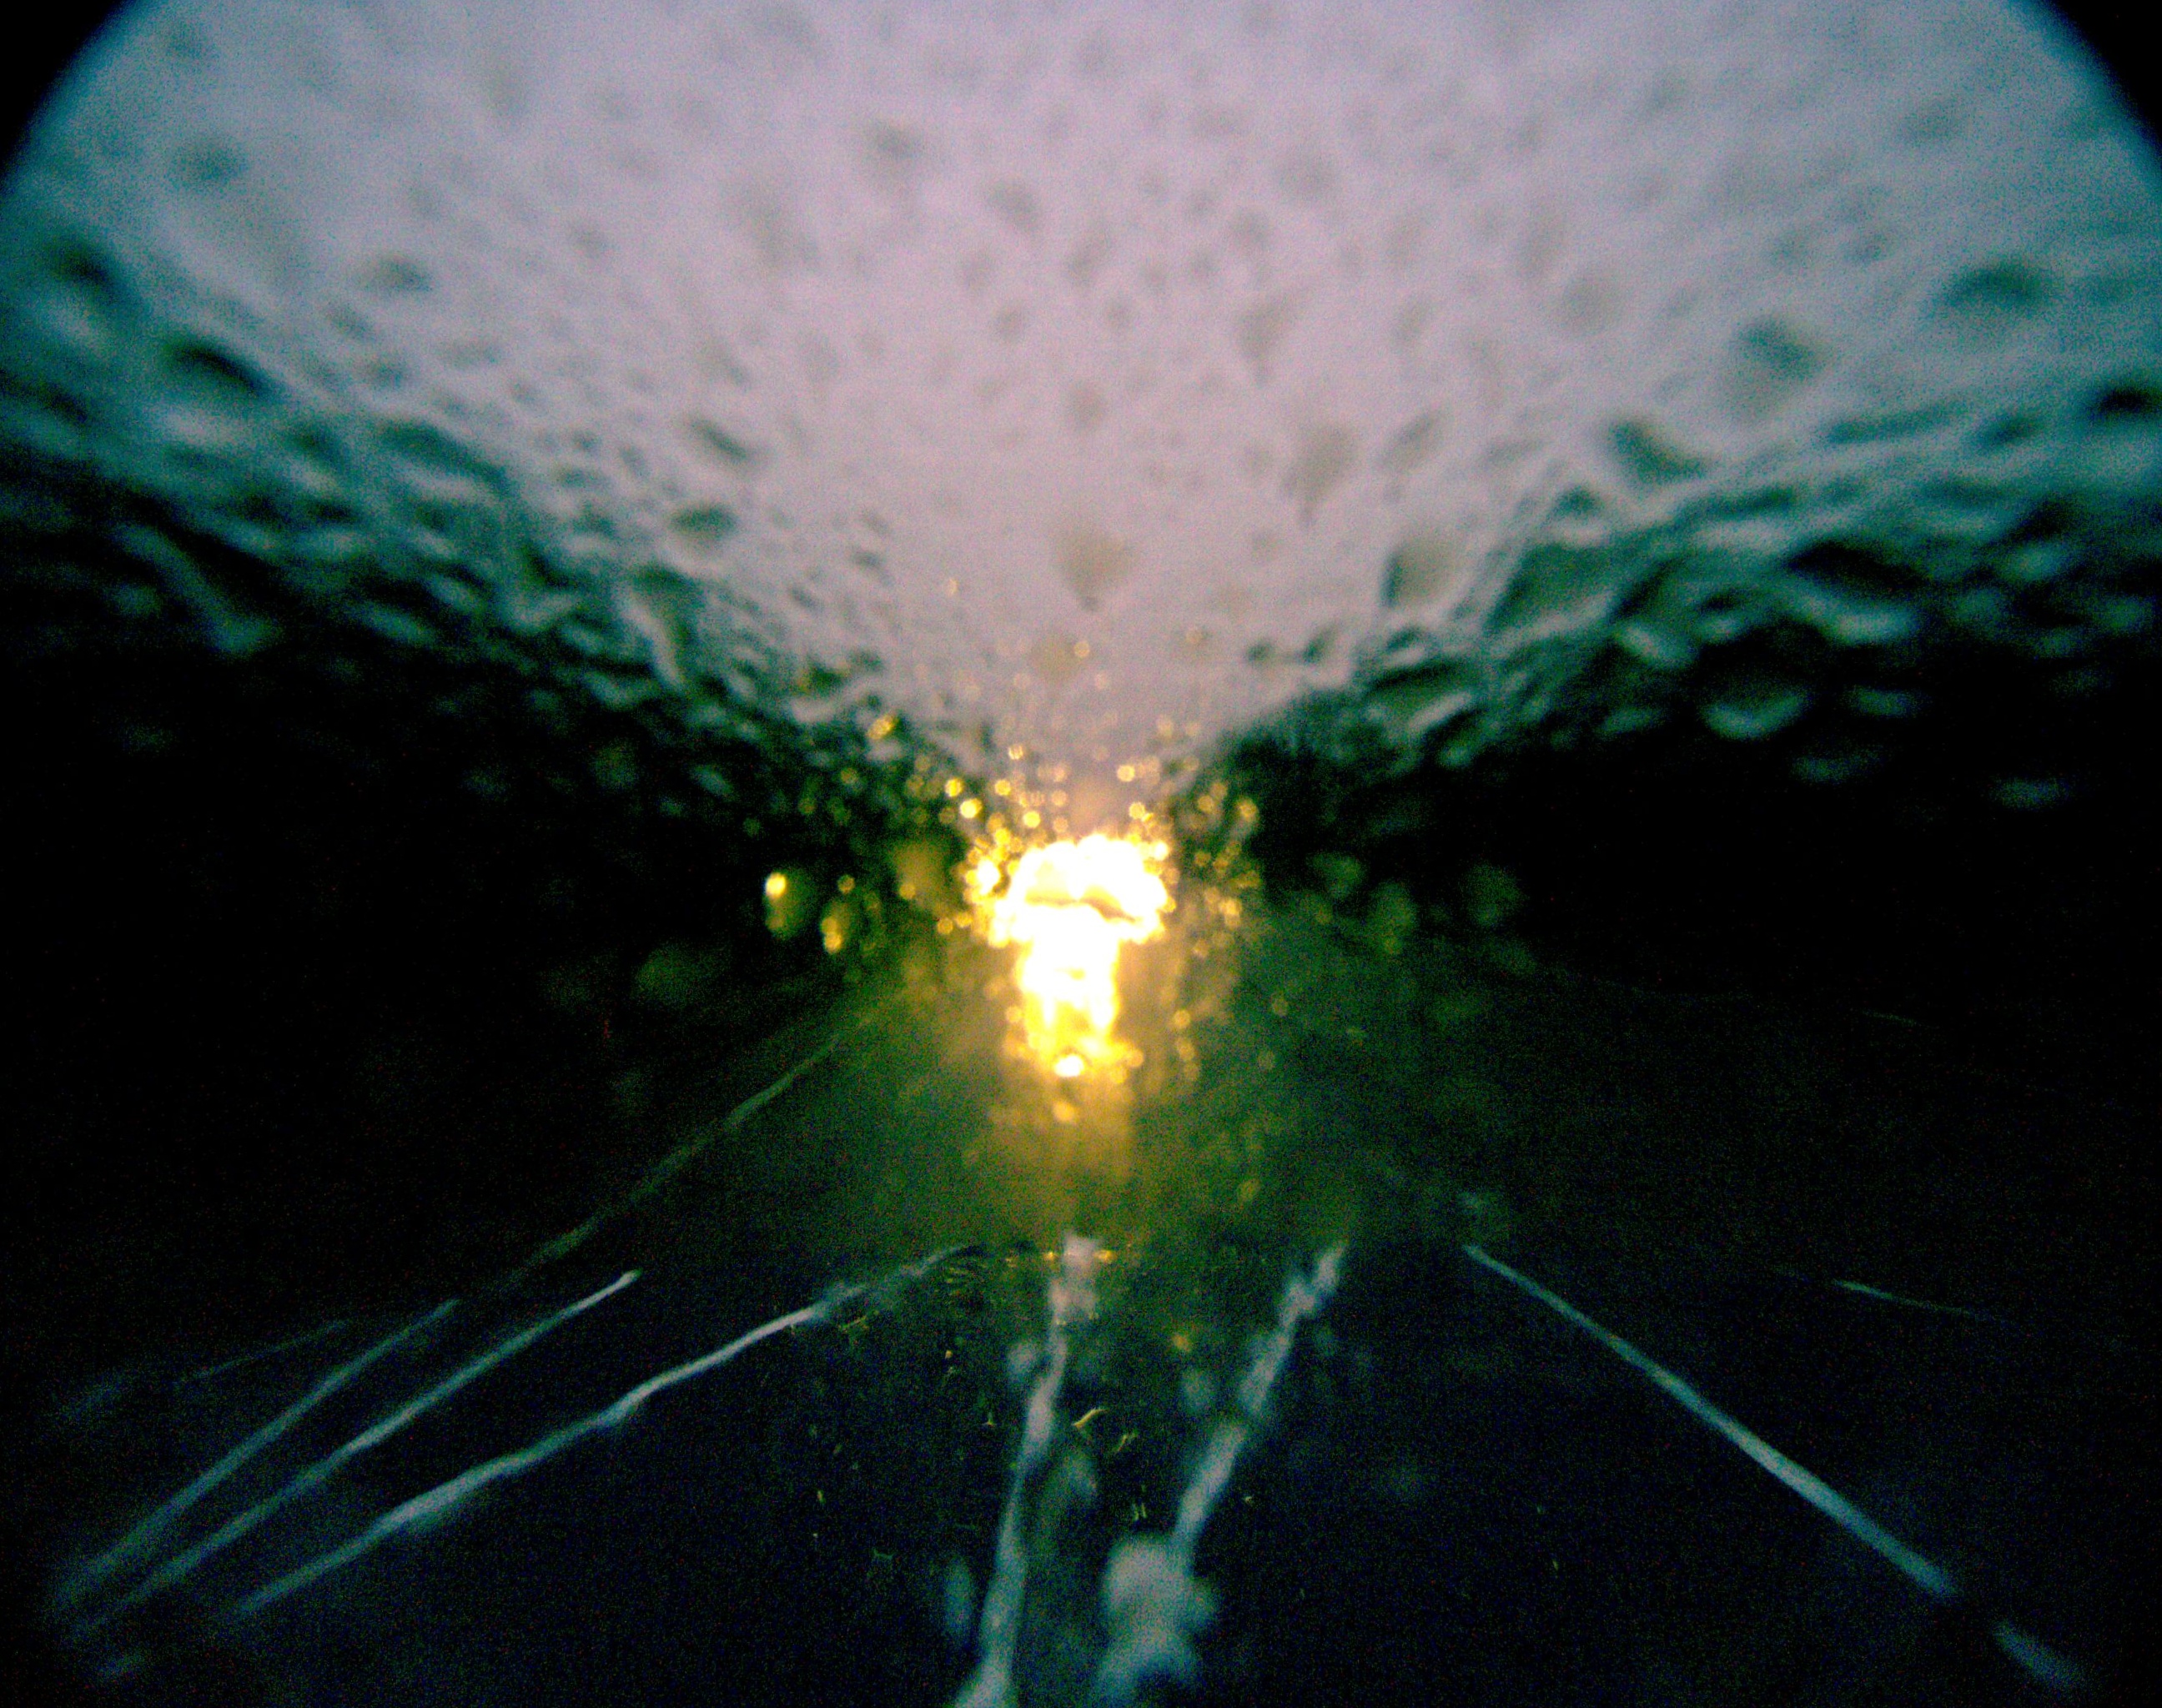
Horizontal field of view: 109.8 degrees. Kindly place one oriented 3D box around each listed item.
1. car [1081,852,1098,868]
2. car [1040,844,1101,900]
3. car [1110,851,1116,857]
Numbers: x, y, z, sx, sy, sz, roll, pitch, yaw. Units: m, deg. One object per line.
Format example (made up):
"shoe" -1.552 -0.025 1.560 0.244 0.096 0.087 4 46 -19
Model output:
"car" 1.077 0.709 92.157 1.998 1.752 4.371 -2 1 1
"car" -0.287 0.534 25.422 1.572 1.701 4.001 -2 1 5
"car" 9.673 -0.066 230.415 1.877 1.597 4.195 -1 0 0
